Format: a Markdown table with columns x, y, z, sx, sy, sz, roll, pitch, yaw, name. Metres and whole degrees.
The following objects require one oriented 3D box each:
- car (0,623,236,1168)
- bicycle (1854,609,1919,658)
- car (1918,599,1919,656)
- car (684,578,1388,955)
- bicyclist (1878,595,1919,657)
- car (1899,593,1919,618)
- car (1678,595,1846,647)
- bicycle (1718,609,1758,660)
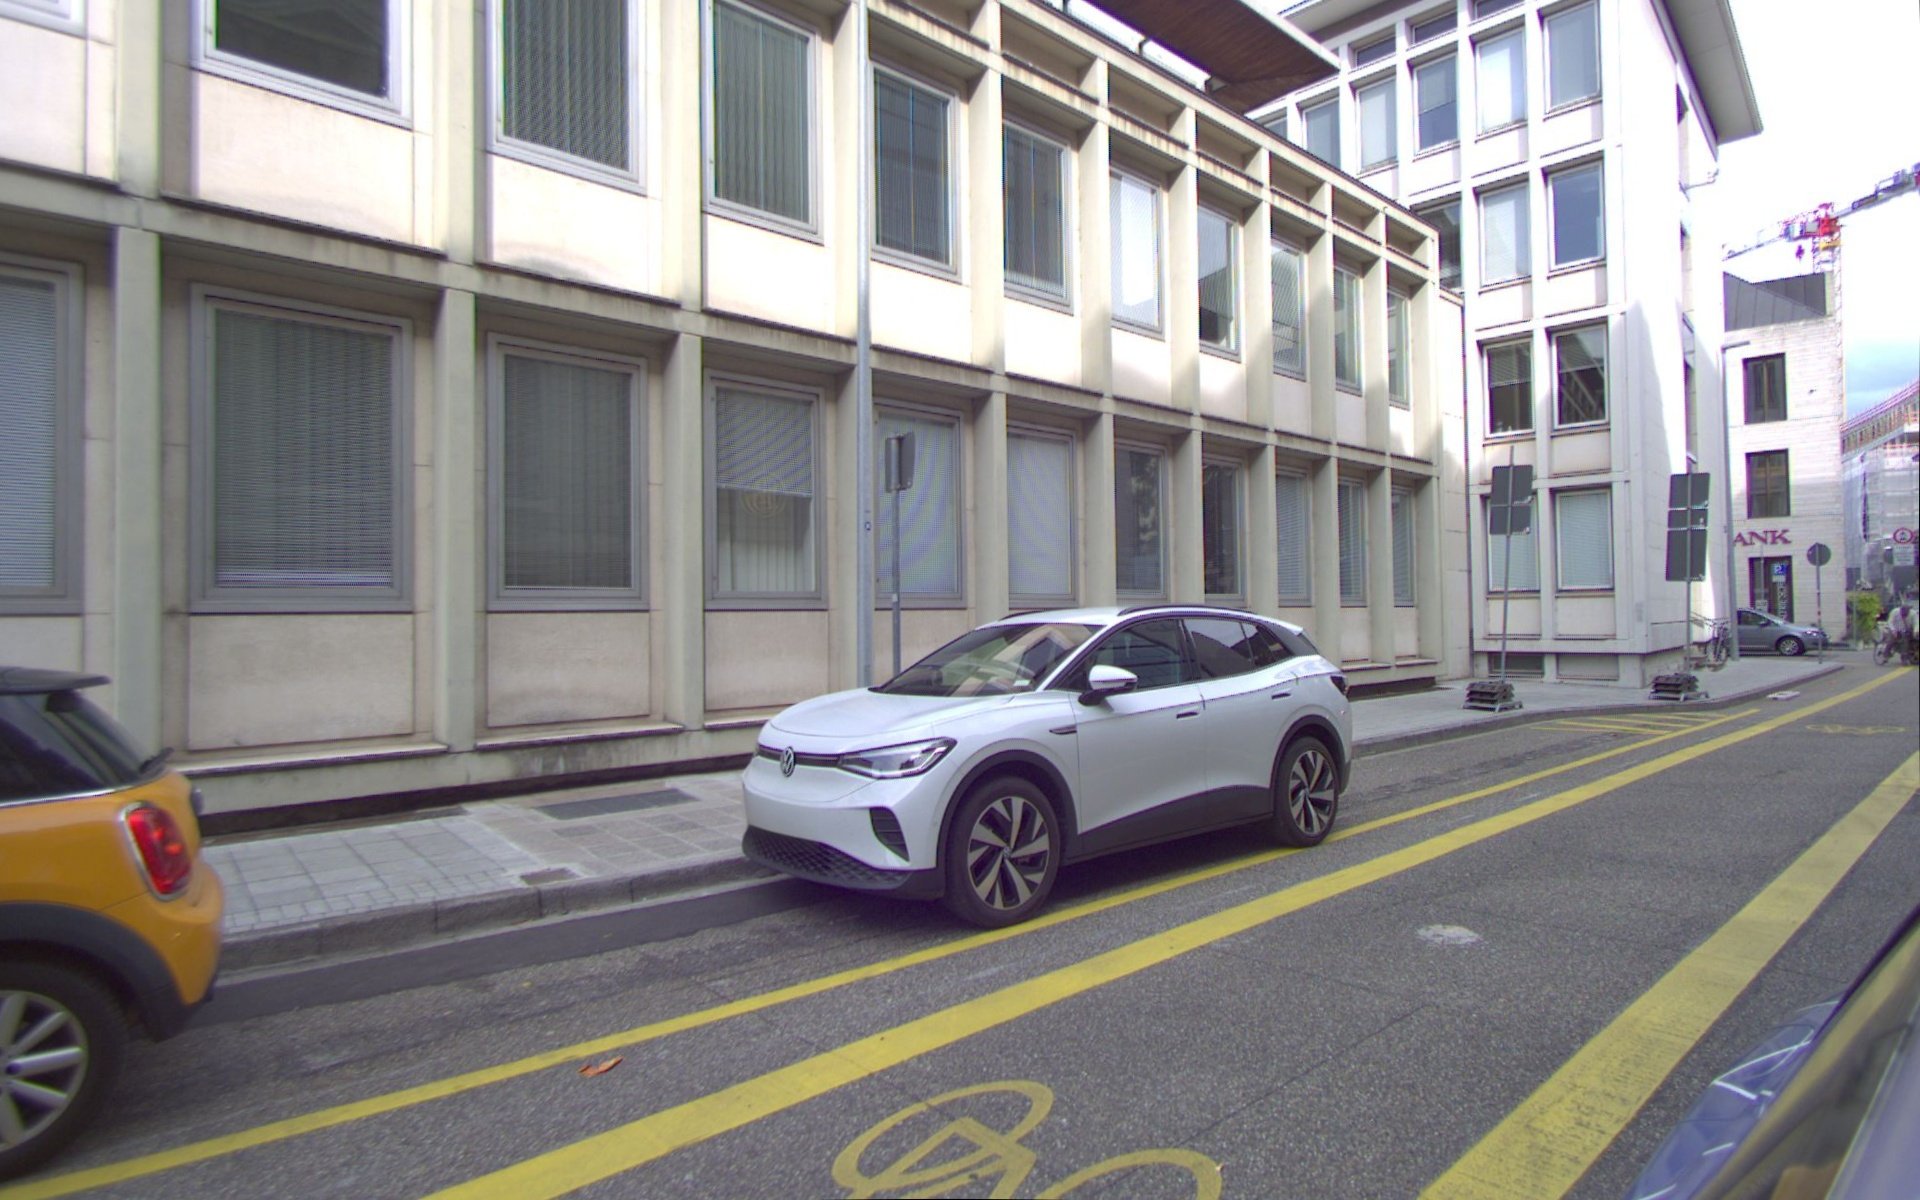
| x | y | z | sx | sy | sz | roll | pitch | yaw | name |
| --- | --- | --- | --- | --- | --- | --- | --- | --- | --- |
| -4.211 | 0.873 | 2.542 | 3.816 | 1.453 | 1.683 | -1 | -4 | -39 | car |
| 25.246 | 0.864 | 27.084 | 0.859 | 1.210 | 2.848 | -1 | 0 | 17 | bicycle |
| 26.294 | 0.706 | 25.183 | 1.689 | 1.510 | 3.755 | -1 | -1 | 9 | car |
| 0.703 | 0.780 | 6.518 | 4.430 | 1.626 | 1.864 | 1 | -3 | -39 | car |
| 25.150 | 0.690 | 26.812 | 0.881 | 1.614 | 0.872 | -1 | -1 | 18 | bicyclist |
| 60.649 | 0.350 | 63.753 | 1.578 | 1.505 | 3.951 | -1 | 0 | 34 | car |
| 26.751 | 0.689 | 33.851 | 1.785 | 1.611 | 4.184 | -1 | 0 | -44 | car |
| 19.062 | 0.818 | 24.775 | 0.588 | 1.182 | 1.786 | -2 | -1 | 43 | bicycle |
